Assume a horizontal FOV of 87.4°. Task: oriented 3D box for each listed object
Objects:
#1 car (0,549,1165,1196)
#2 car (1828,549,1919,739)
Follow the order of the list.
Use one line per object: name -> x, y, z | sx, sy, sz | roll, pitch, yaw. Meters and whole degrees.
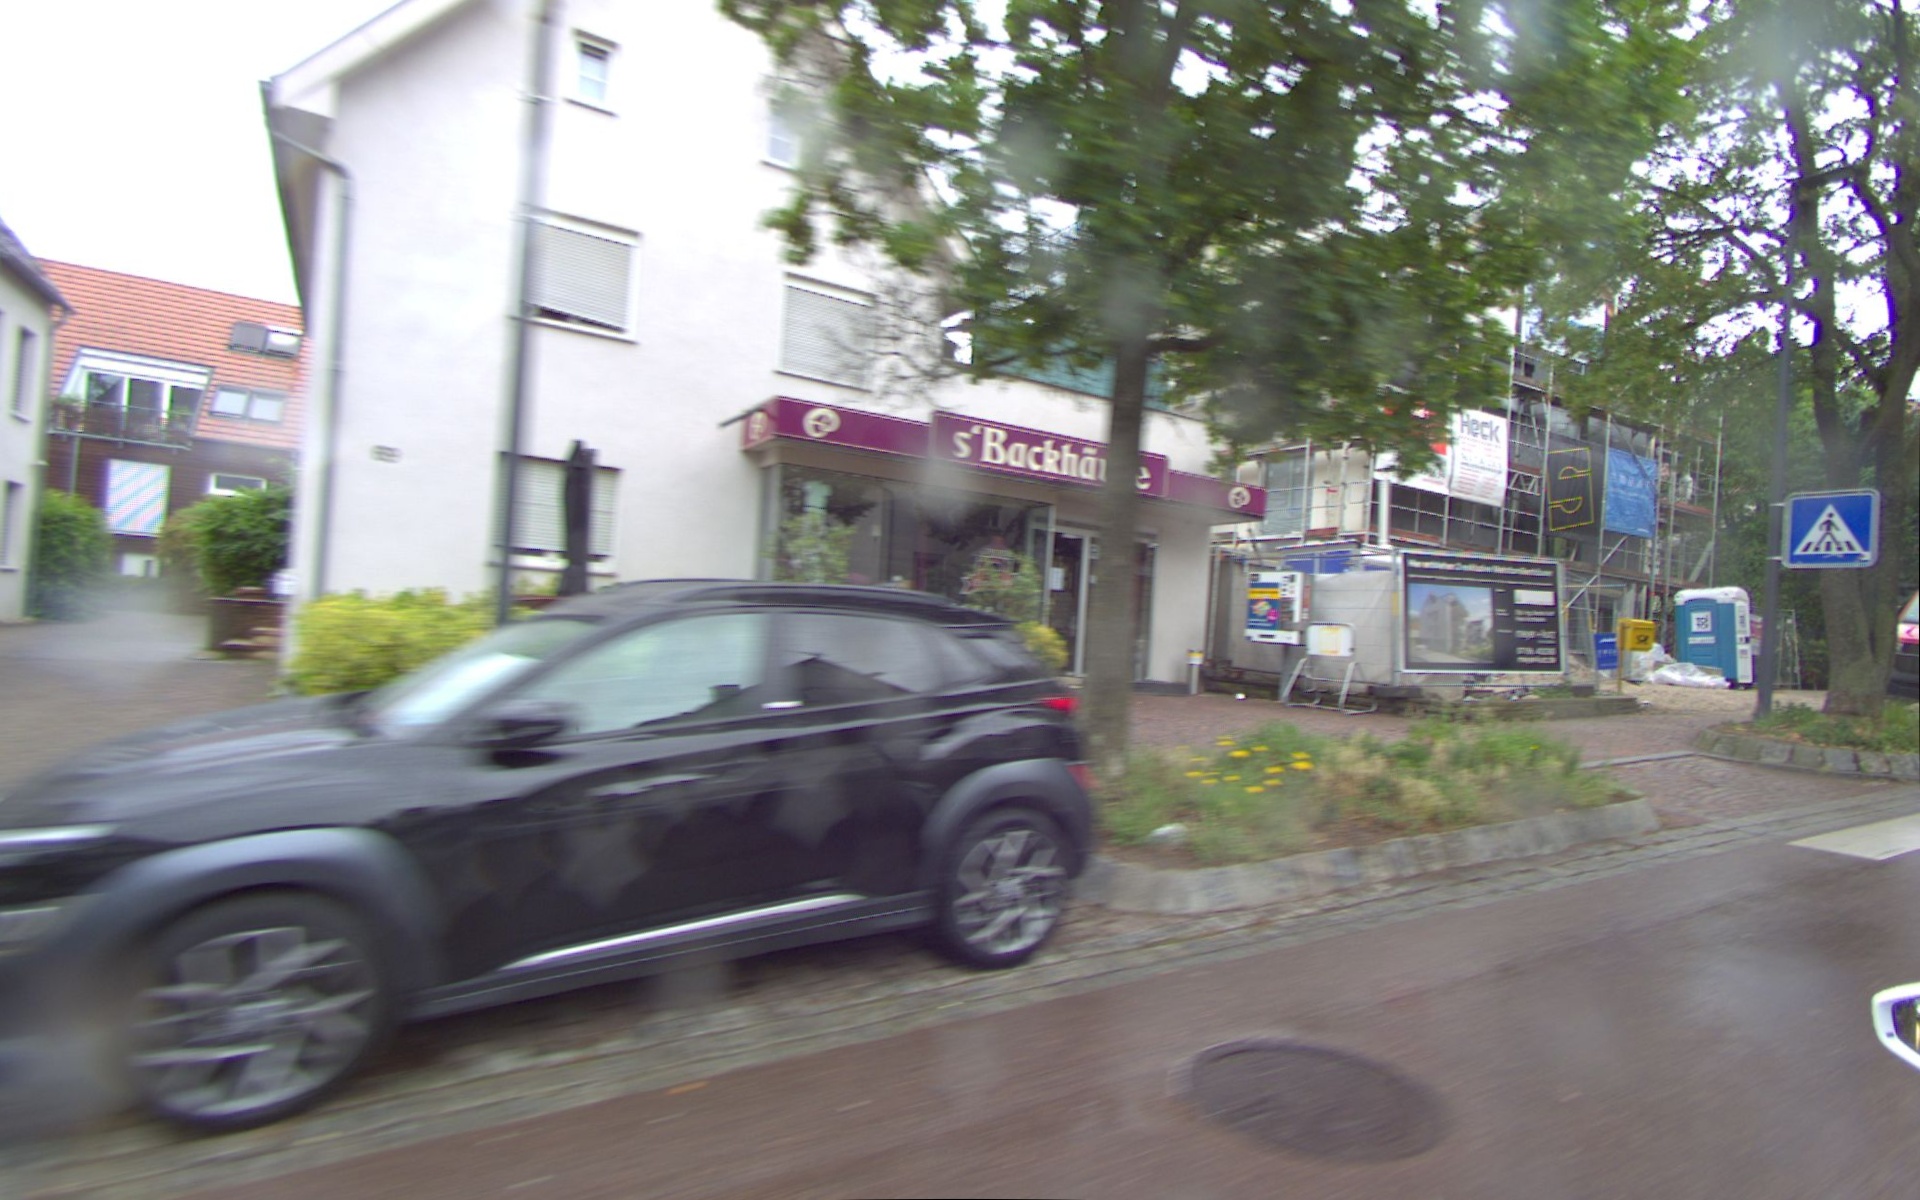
car -> -1.257, 0.669, 4.139 | 3.955, 1.574, 1.762 | 1, 2, -32
car -> 15.329, 0.623, 14.508 | 5.711, 2.516, 2.294 | 1, 1, -28
